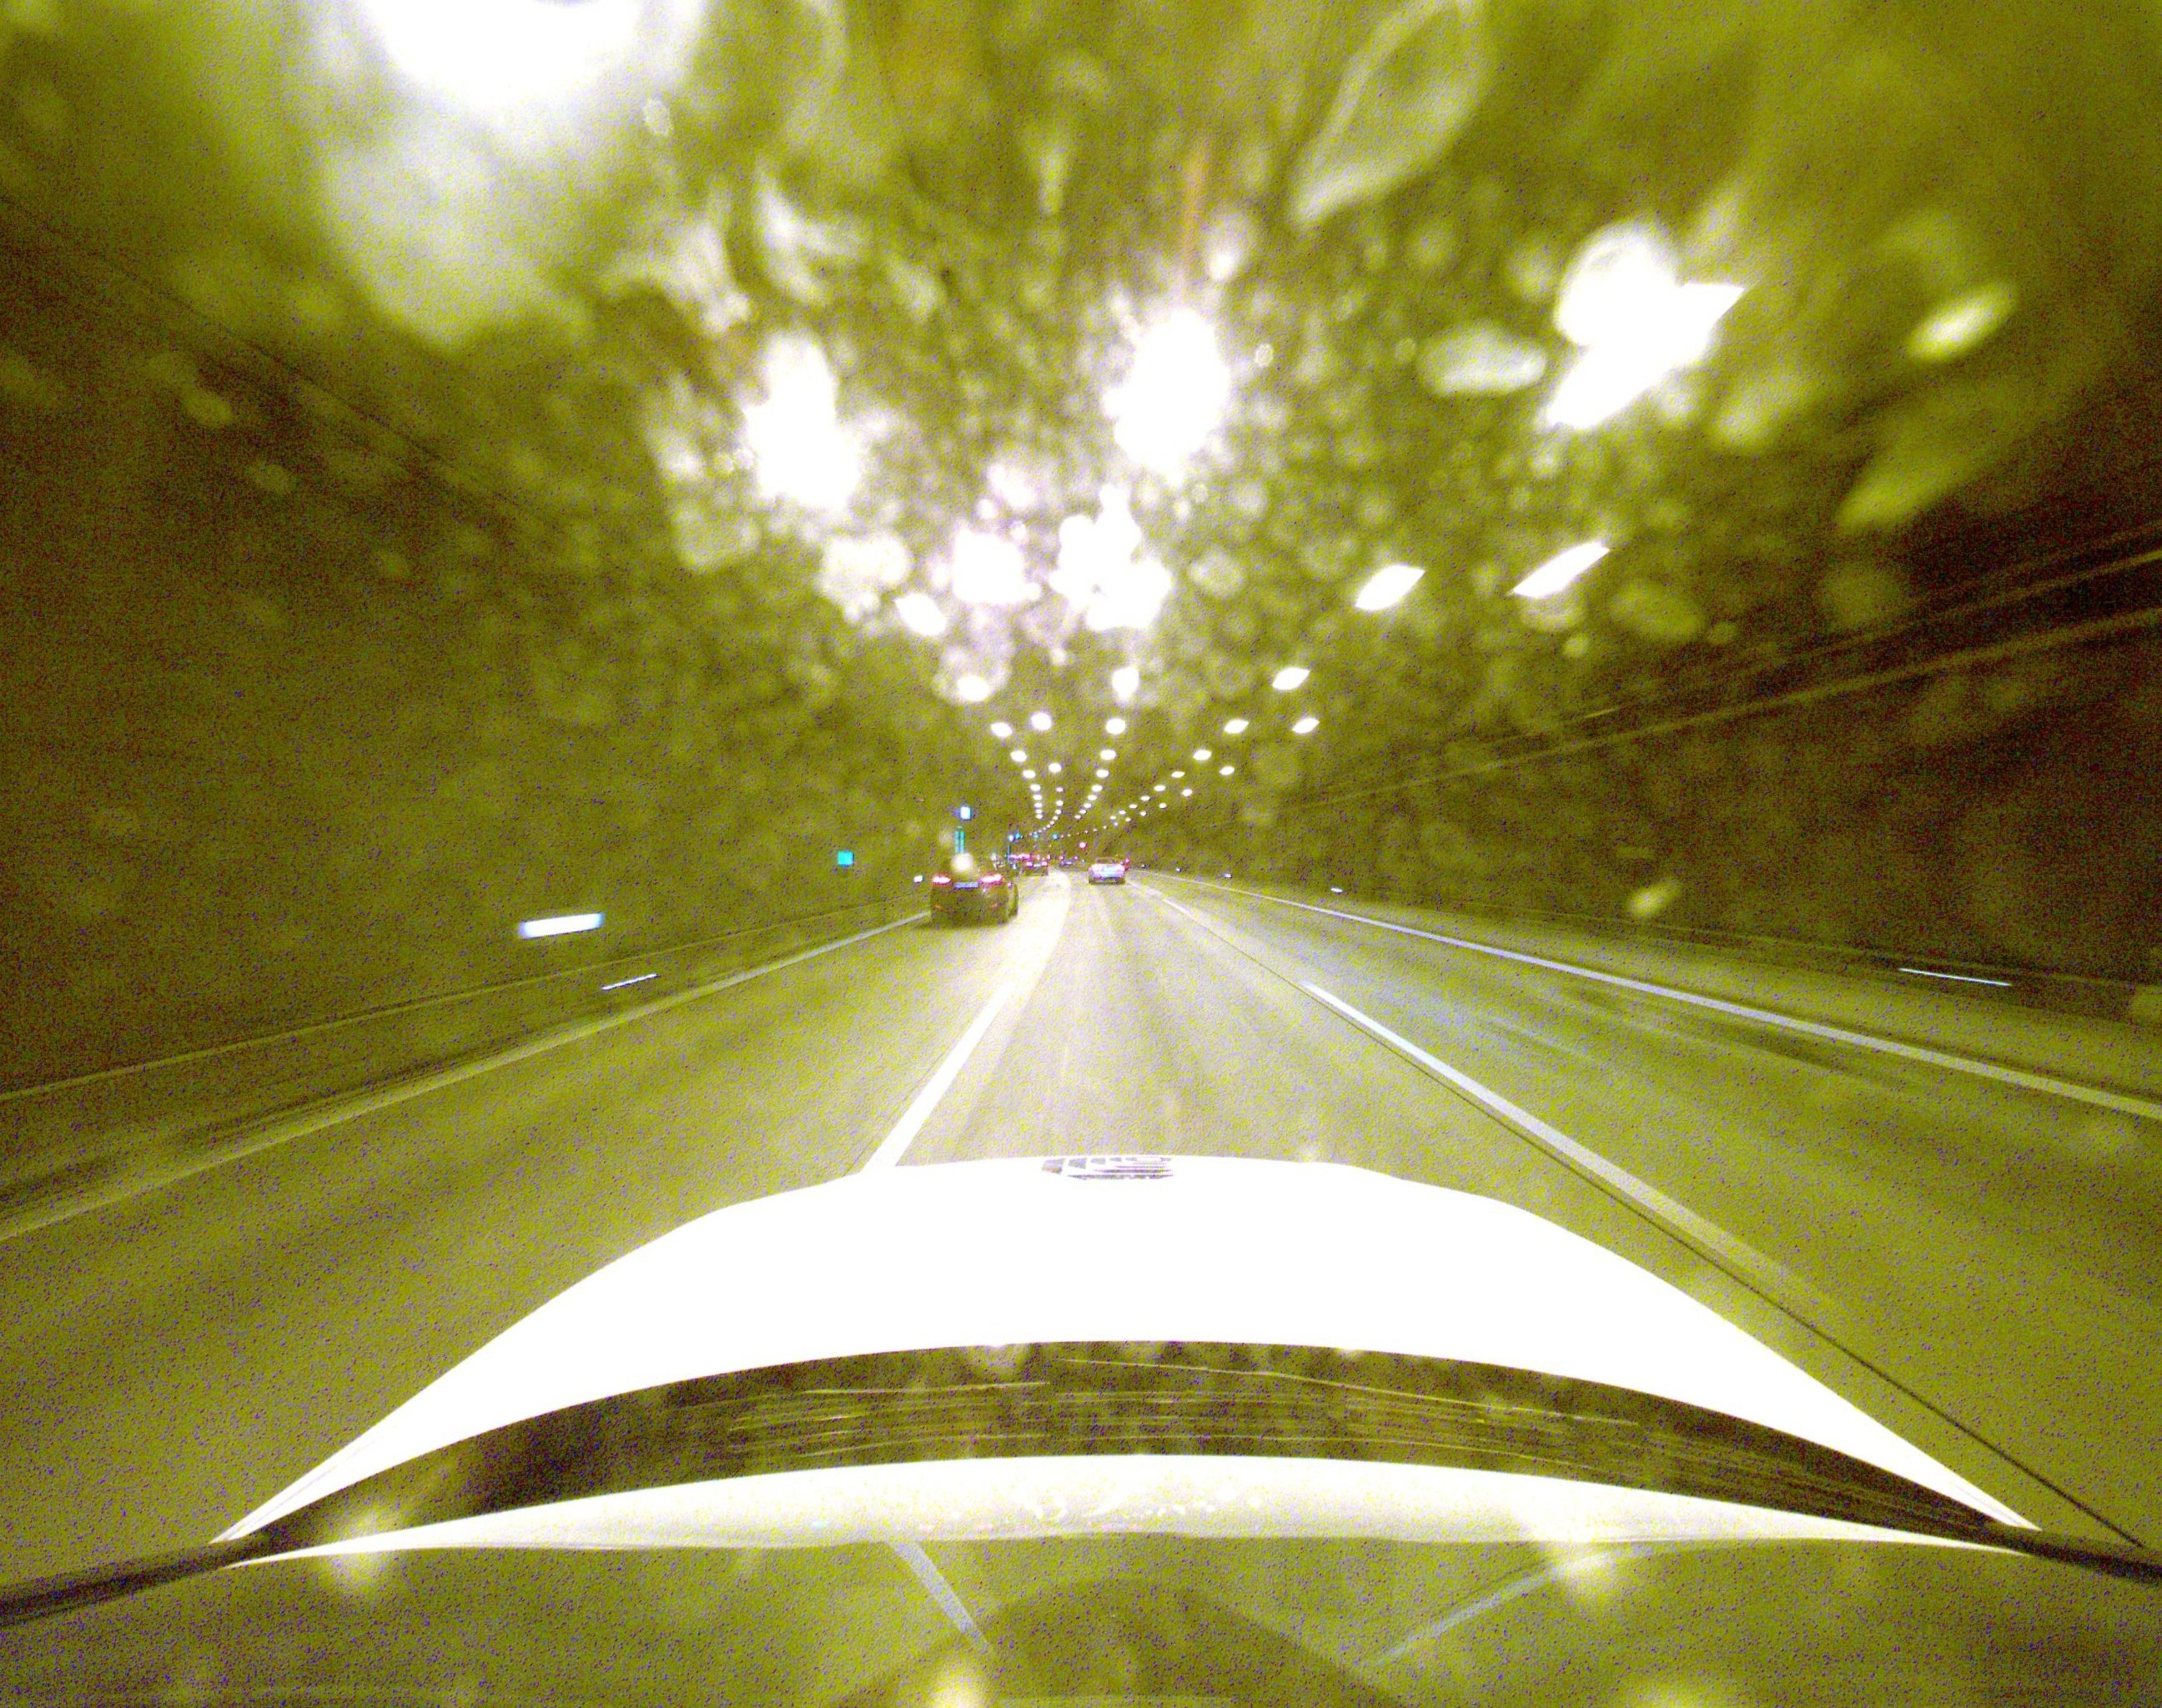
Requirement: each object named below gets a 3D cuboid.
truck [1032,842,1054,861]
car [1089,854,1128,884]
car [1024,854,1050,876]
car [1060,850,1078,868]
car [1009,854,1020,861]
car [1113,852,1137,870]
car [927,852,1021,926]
[{"bbox_3d":[-6.788,-0.445,142.561,3.080,3.113,10.004,0,1,-7],"label":"truck"},{"bbox_3d":[1.427,0.756,43.424,1.986,1.483,4.001,-1,0,1],"label":"car"},{"bbox_3d":[-3.499,0.827,63.917,1.799,1.684,3.990,-1,0,-7],"label":"car"},{"bbox_3d":[-1.397,0.547,94.444,1.987,1.972,4.000,-1,0,0],"label":"car"},{"bbox_3d":[-14.247,0.742,173.439,1.993,1.530,3.986,0,-1,-10],"label":"car"},{"bbox_3d":[3.924,0.612,73.389,1.835,1.602,3.997,-1,0,-2],"label":"car"},{"bbox_3d":[-2.514,0.781,19.960,1.780,1.598,3.800,-1,0,-1],"label":"car"}]
